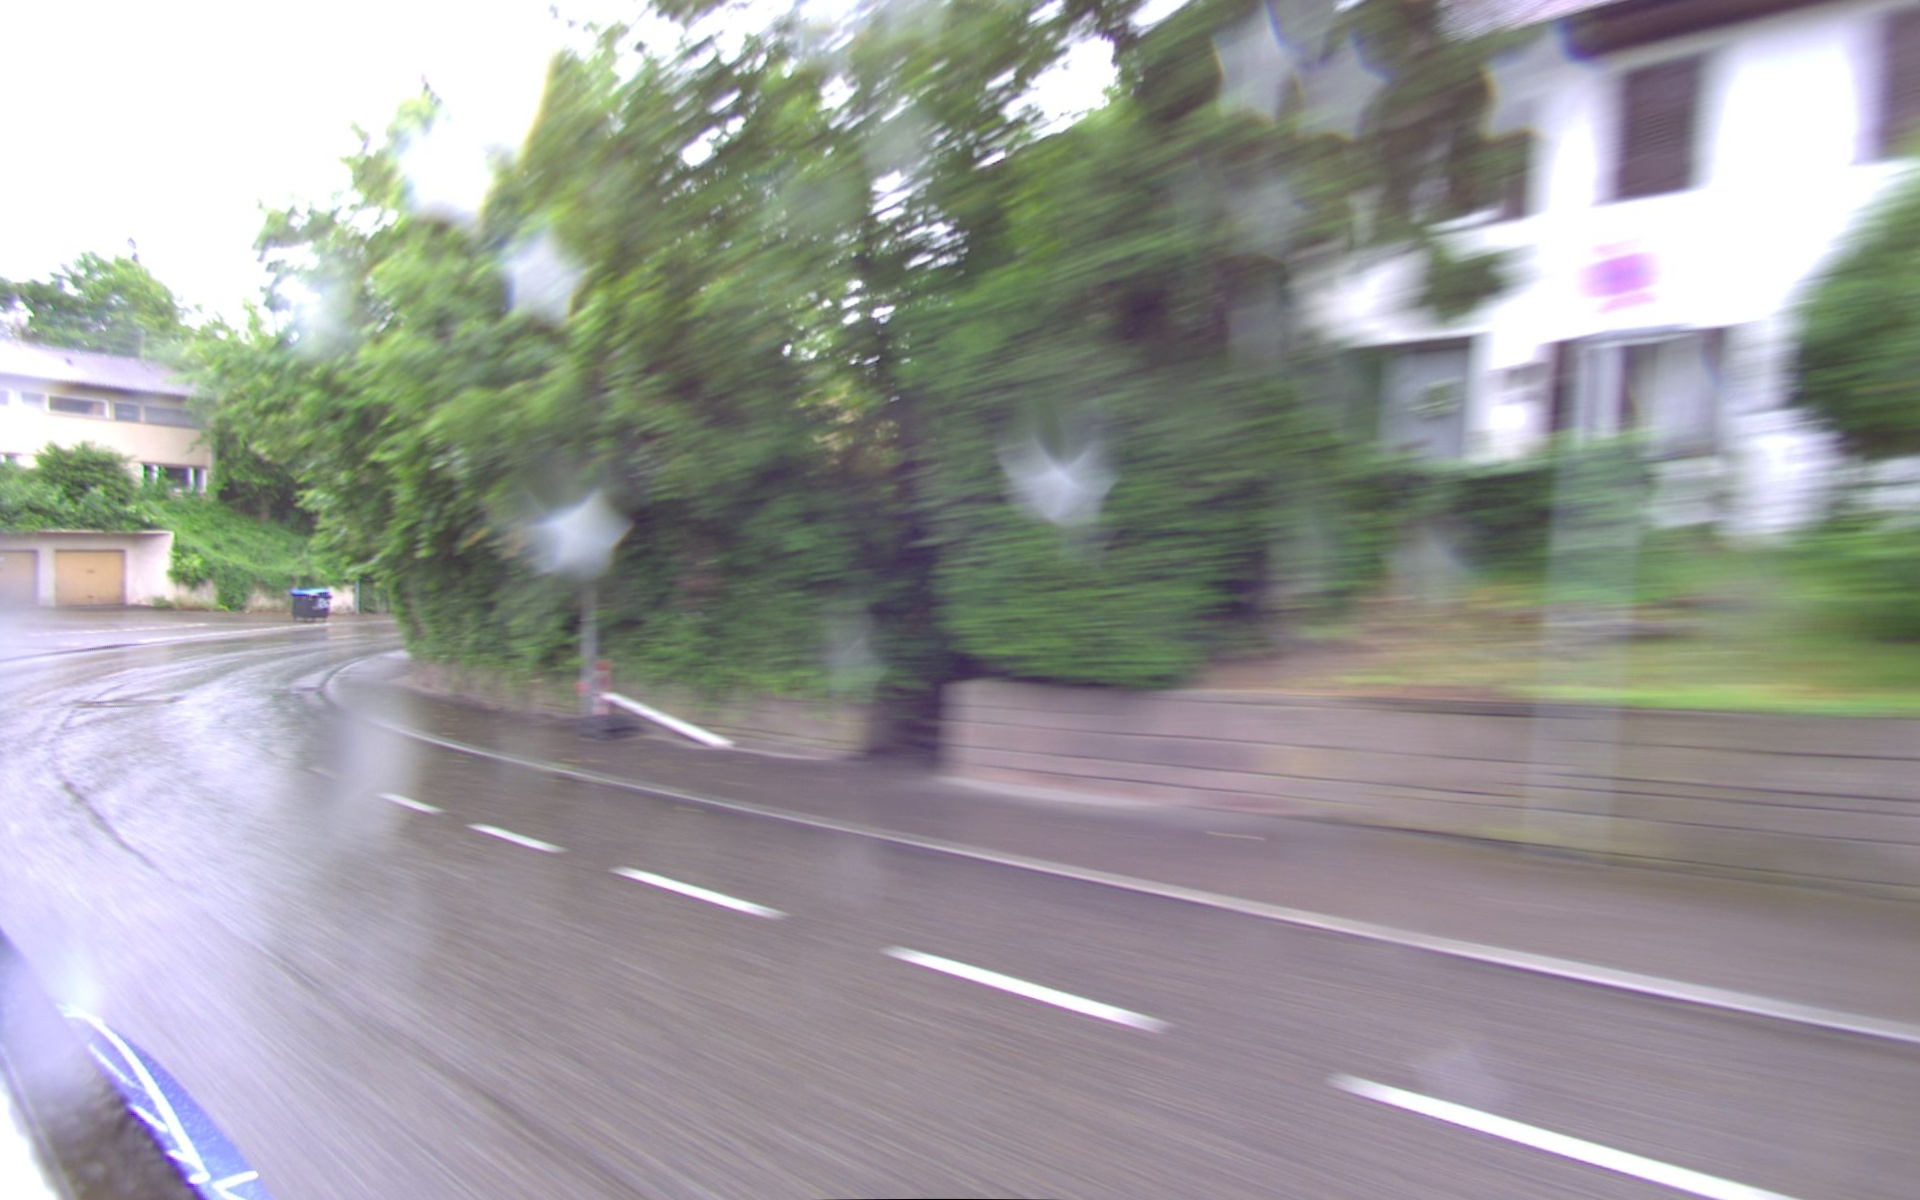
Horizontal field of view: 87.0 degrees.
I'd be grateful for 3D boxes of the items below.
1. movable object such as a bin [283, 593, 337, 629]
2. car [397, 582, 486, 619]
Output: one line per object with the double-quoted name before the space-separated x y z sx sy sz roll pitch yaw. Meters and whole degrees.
"movable object such as a bin" -27.984 0.476 43.599 1.151 1.419 1.475 6 1 20
"car" -29.918 0.027 58.419 4.532 1.564 1.987 7 2 20
